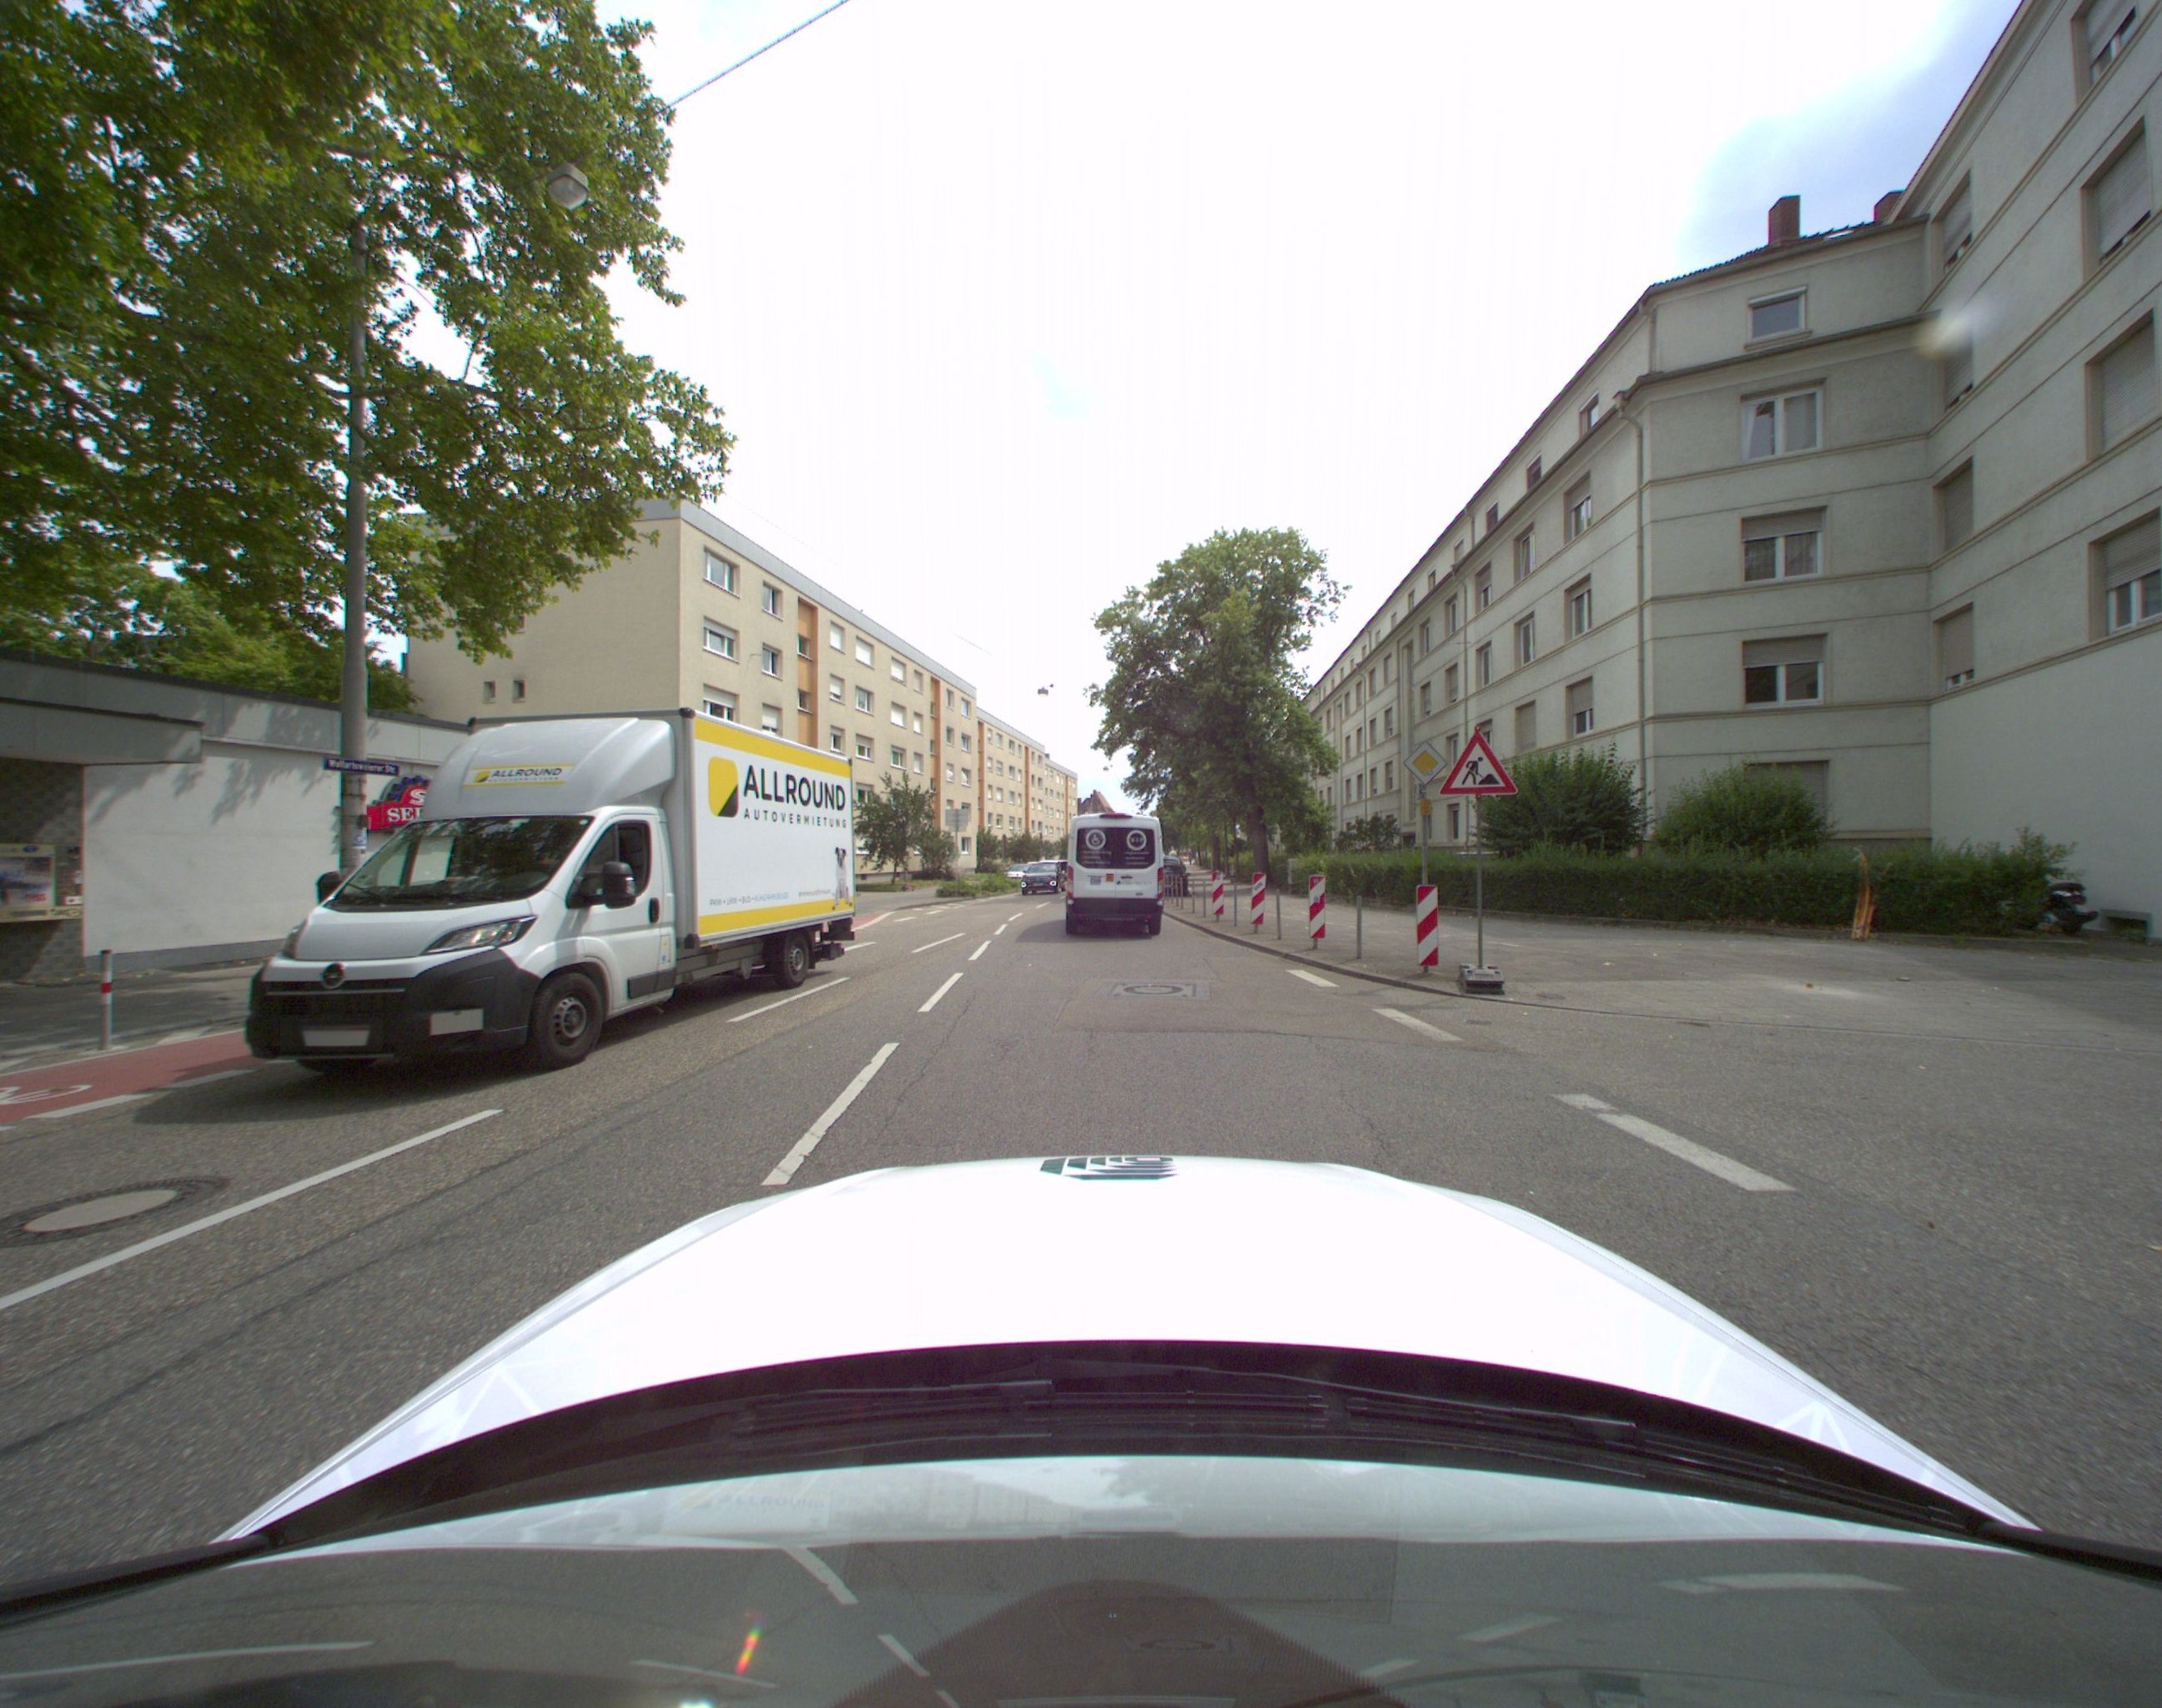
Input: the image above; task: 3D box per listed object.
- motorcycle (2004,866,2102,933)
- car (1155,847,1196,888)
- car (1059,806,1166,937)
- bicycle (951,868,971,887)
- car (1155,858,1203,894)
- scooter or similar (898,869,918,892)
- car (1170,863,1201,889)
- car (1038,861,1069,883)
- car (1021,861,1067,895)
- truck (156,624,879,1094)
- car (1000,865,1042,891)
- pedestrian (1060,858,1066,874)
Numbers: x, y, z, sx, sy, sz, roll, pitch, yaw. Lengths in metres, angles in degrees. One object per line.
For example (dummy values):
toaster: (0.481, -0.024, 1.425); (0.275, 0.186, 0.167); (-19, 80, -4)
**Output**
motorcycle: (16.142, 0.725, 13.561); (0.428, 1.016, 1.457); (-1, 1, 23)
car: (4.781, 0.645, 40.695); (1.907, 1.865, 4.856); (1, 0, 8)
car: (0.808, 0.379, 18.367); (2.061, 2.540, 4.640); (-1, -1, 5)
bicycle: (-8.283, 1.605, 56.228); (0.574, 1.251, 1.942); (-1, 0, 17)
car: (4.251, 0.920, 35.047); (1.907, 1.444, 4.248); (0, -1, 8)
scooter or similar: (-9.015, 1.374, 42.422); (0.398, 1.193, 1.296); (1, -1, 18)
car: (6.242, 1.283, 49.028); (1.689, 1.450, 4.106); (0, 0, 5)
car: (-2.045, 1.330, 61.727); (1.688, 1.613, 4.485); (1, 0, 6)
car: (-1.772, 1.163, 40.245); (1.689, 1.518, 4.006); (-2, 0, 5)
truck: (-4.785, 0.083, 9.065); (2.528, 3.107, 7.032); (-3, -1, 6)
car: (-3.566, 1.429, 49.377); (1.699, 1.473, 3.998); (1, 0, 8)
pedestrian: (-2.006, 1.387, 92.015); (0.617, 1.813, 0.900); (0, -1, 4)
